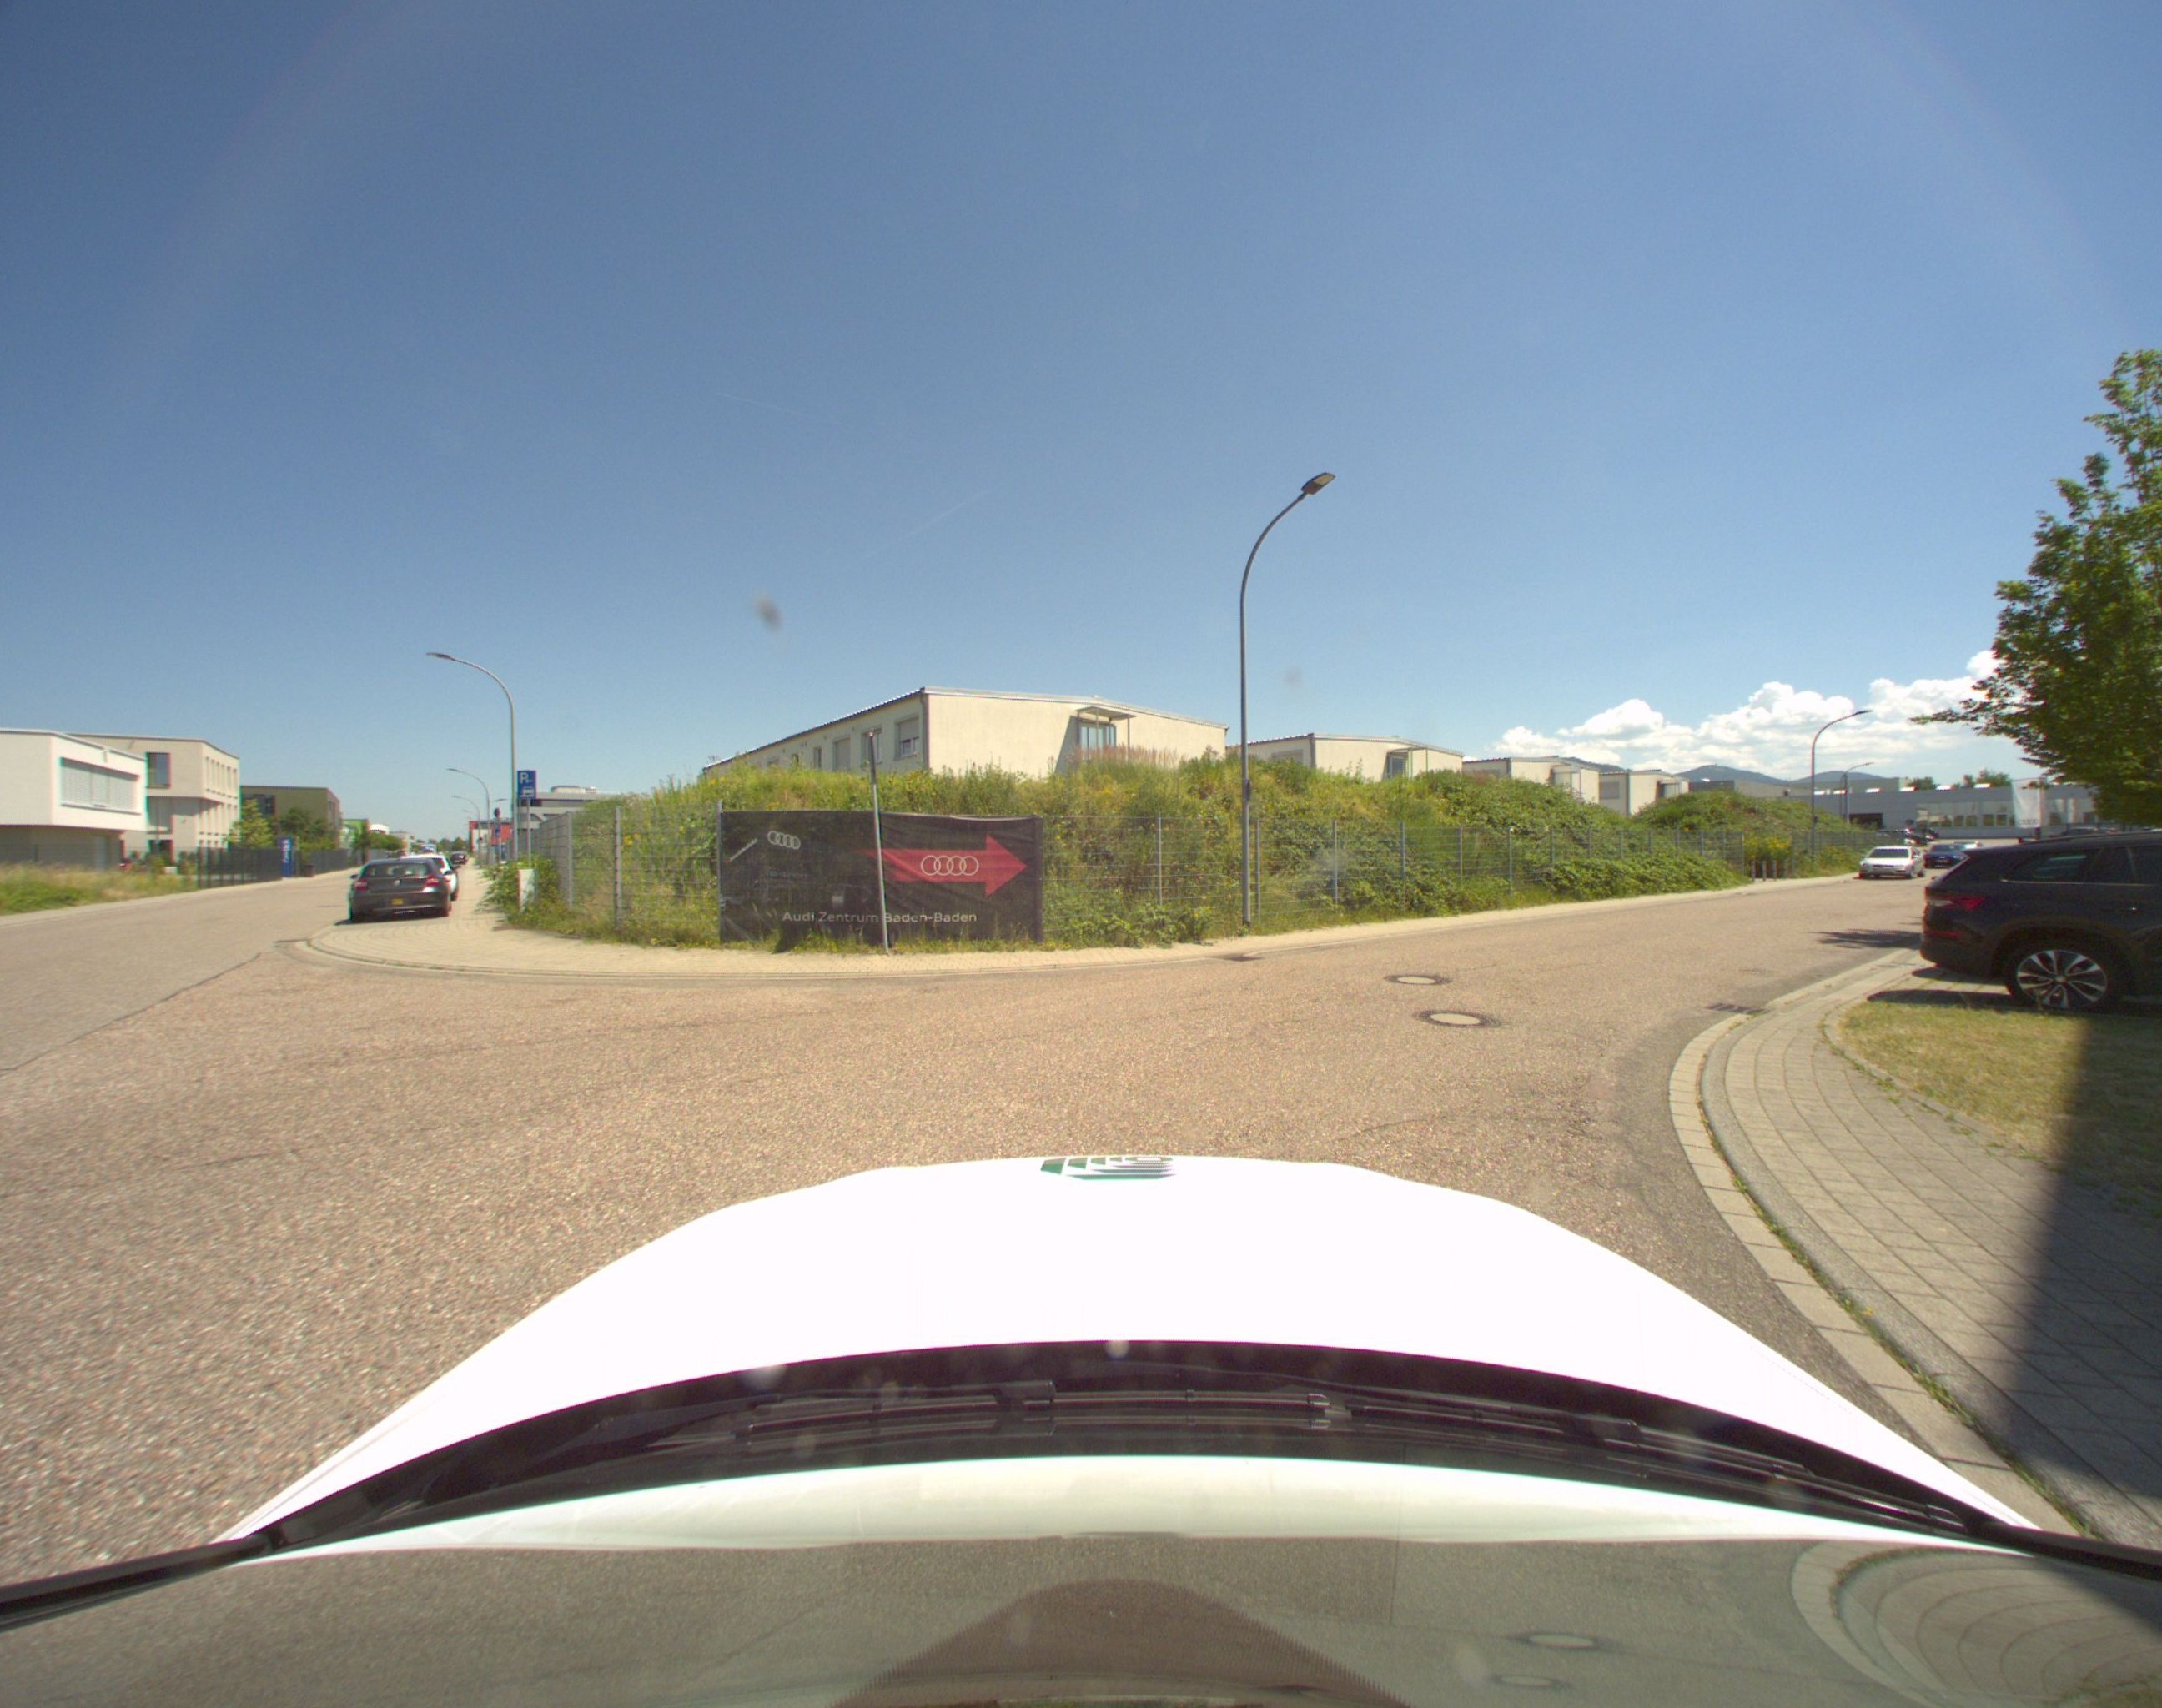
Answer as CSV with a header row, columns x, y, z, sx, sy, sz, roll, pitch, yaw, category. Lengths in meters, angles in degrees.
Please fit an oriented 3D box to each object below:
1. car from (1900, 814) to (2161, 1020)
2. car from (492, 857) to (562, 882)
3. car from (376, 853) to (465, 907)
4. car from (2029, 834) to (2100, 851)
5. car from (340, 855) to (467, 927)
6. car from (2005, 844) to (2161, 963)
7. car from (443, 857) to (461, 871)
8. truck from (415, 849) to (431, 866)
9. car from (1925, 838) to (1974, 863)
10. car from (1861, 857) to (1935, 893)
x,y,z,sx,sy,sz,roll,pitch,yaw,category
10.167,0.522,7.114,1.731,1.765,3.958,0,-1,-33,car
-45.458,1.262,66.917,4.658,2.014,2.579,1,-1,-34,car
-21.793,0.786,27.021,1.922,1.546,3.957,-3,2,-34,car
87.297,-0.985,72.346,2.009,1.398,3.955,1,-1,-37,car
-16.182,0.791,19.653,1.922,1.448,3.957,-3,2,-34,car
14.692,0.604,10.237,1.733,1.495,3.954,0,-1,-38,car
-82.470,1.328,106.769,1.790,1.728,3.955,1,-1,-37,car
-147.734,0.687,182.732,2.621,3.544,10.379,-2,2,-40,truck
51.962,-0.205,48.701,4.165,1.417,1.642,-1,0,-38,car
38.443,0.937,38.282,4.386,1.546,1.819,-1,0,-36,car
